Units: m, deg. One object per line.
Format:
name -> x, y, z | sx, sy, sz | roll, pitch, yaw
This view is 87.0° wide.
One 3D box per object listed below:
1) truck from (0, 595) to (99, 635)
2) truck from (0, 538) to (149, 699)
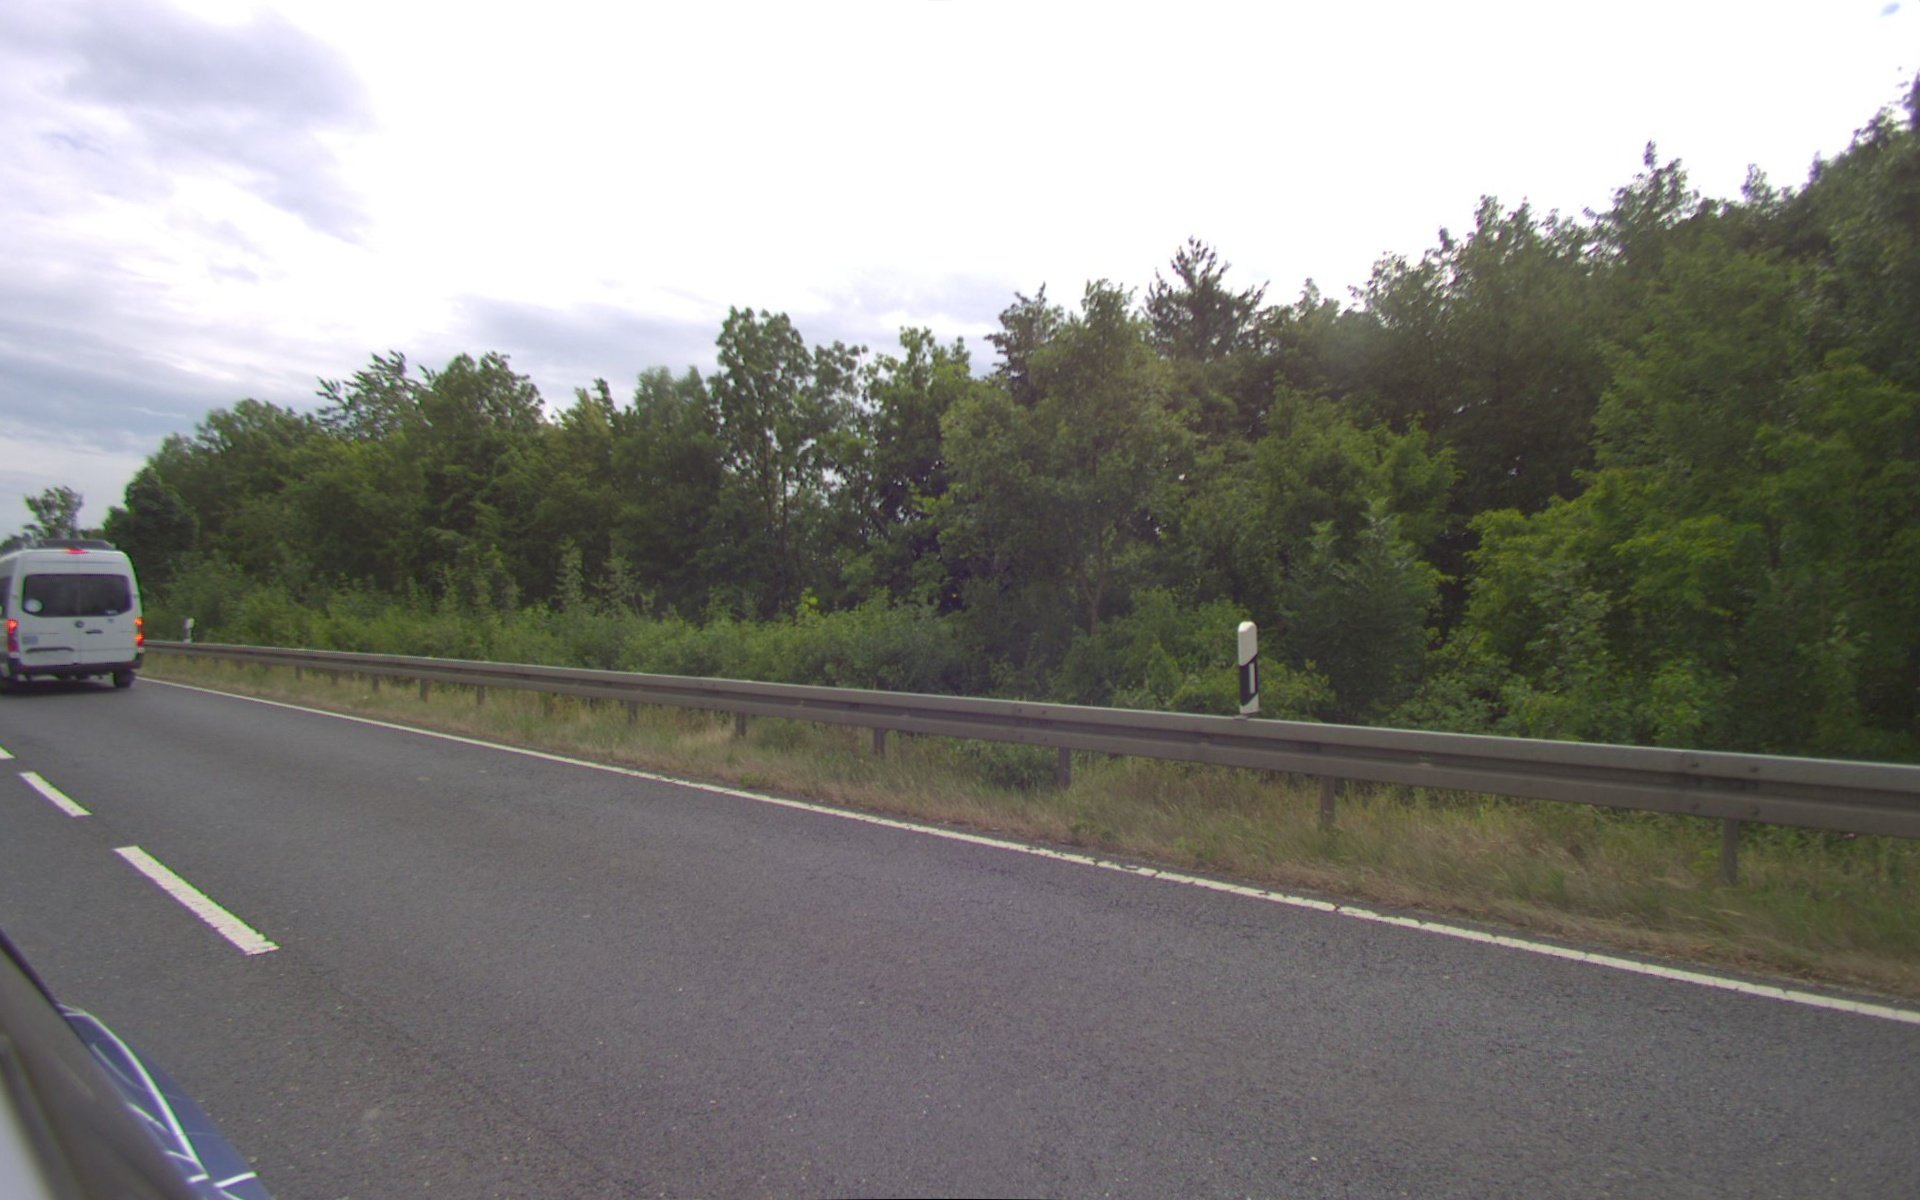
truck -> -109.330, 1.827, 121.216 | 9.431, 4.383, 3.030 | 2, -2, -2
truck -> -18.465, 0.379, 20.400 | 7.002, 2.763, 2.044 | -1, -2, 41
